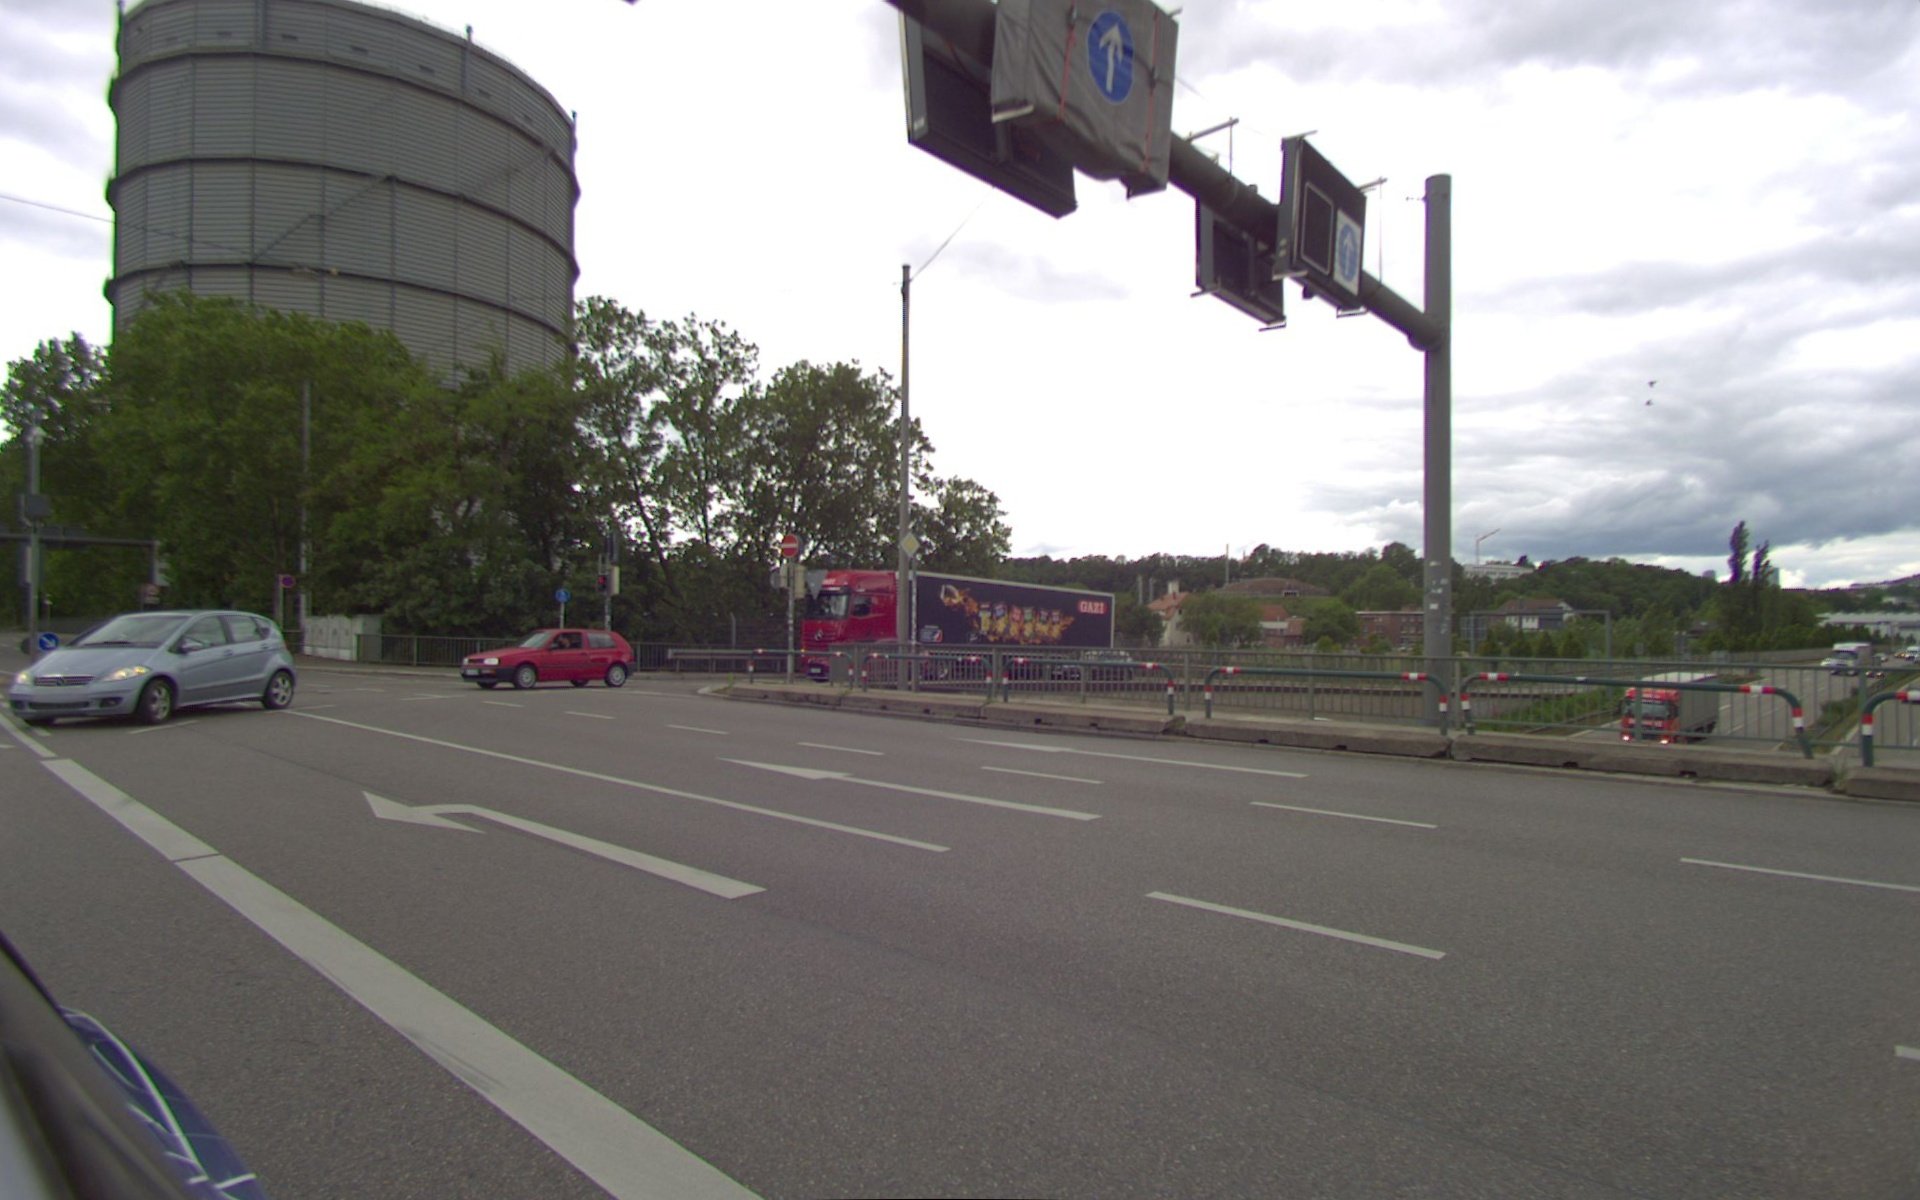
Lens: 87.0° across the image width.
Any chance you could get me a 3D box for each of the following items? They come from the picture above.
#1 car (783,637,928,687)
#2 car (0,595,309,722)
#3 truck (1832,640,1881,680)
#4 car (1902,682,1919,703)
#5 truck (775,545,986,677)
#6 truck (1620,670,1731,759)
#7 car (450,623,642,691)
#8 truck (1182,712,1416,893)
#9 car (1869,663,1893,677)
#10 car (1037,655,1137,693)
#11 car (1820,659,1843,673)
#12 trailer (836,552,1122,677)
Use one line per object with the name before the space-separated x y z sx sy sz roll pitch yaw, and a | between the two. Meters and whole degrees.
car | -3.295 1.932 32.374 4.396 1.431 1.701 0 -2 -38
car | -11.704 0.856 14.926 1.724 1.616 3.680 1 -3 1
truck | 120.947 7.988 136.440 13.724 4.992 3.383 1 -2 -42
car | 88.087 8.460 92.620 4.659 1.730 2.340 1 -3 -42
truck | -2.804 0.602 37.564 3.672 4.354 7.132 -2 -5 43
truck | 43.882 6.729 61.824 13.055 4.389 2.894 1 -1 -43
car | -9.724 1.365 24.045 1.744 1.474 3.907 -3 -4 35
truck | 11.289 6.171 32.894 9.875 4.215 2.905 2 0 -44
car | 119.250 9.045 131.015 3.584 1.730 1.916 3 -1 -42
car | 5.191 2.979 40.927 1.698 1.431 4.402 -2 -4 45
car | 129.627 9.780 150.500 3.938 2.029 2.003 4 -4 -41
trailer | 1.320 0.945 41.977 3.672 4.354 13.585 -2 -5 43
